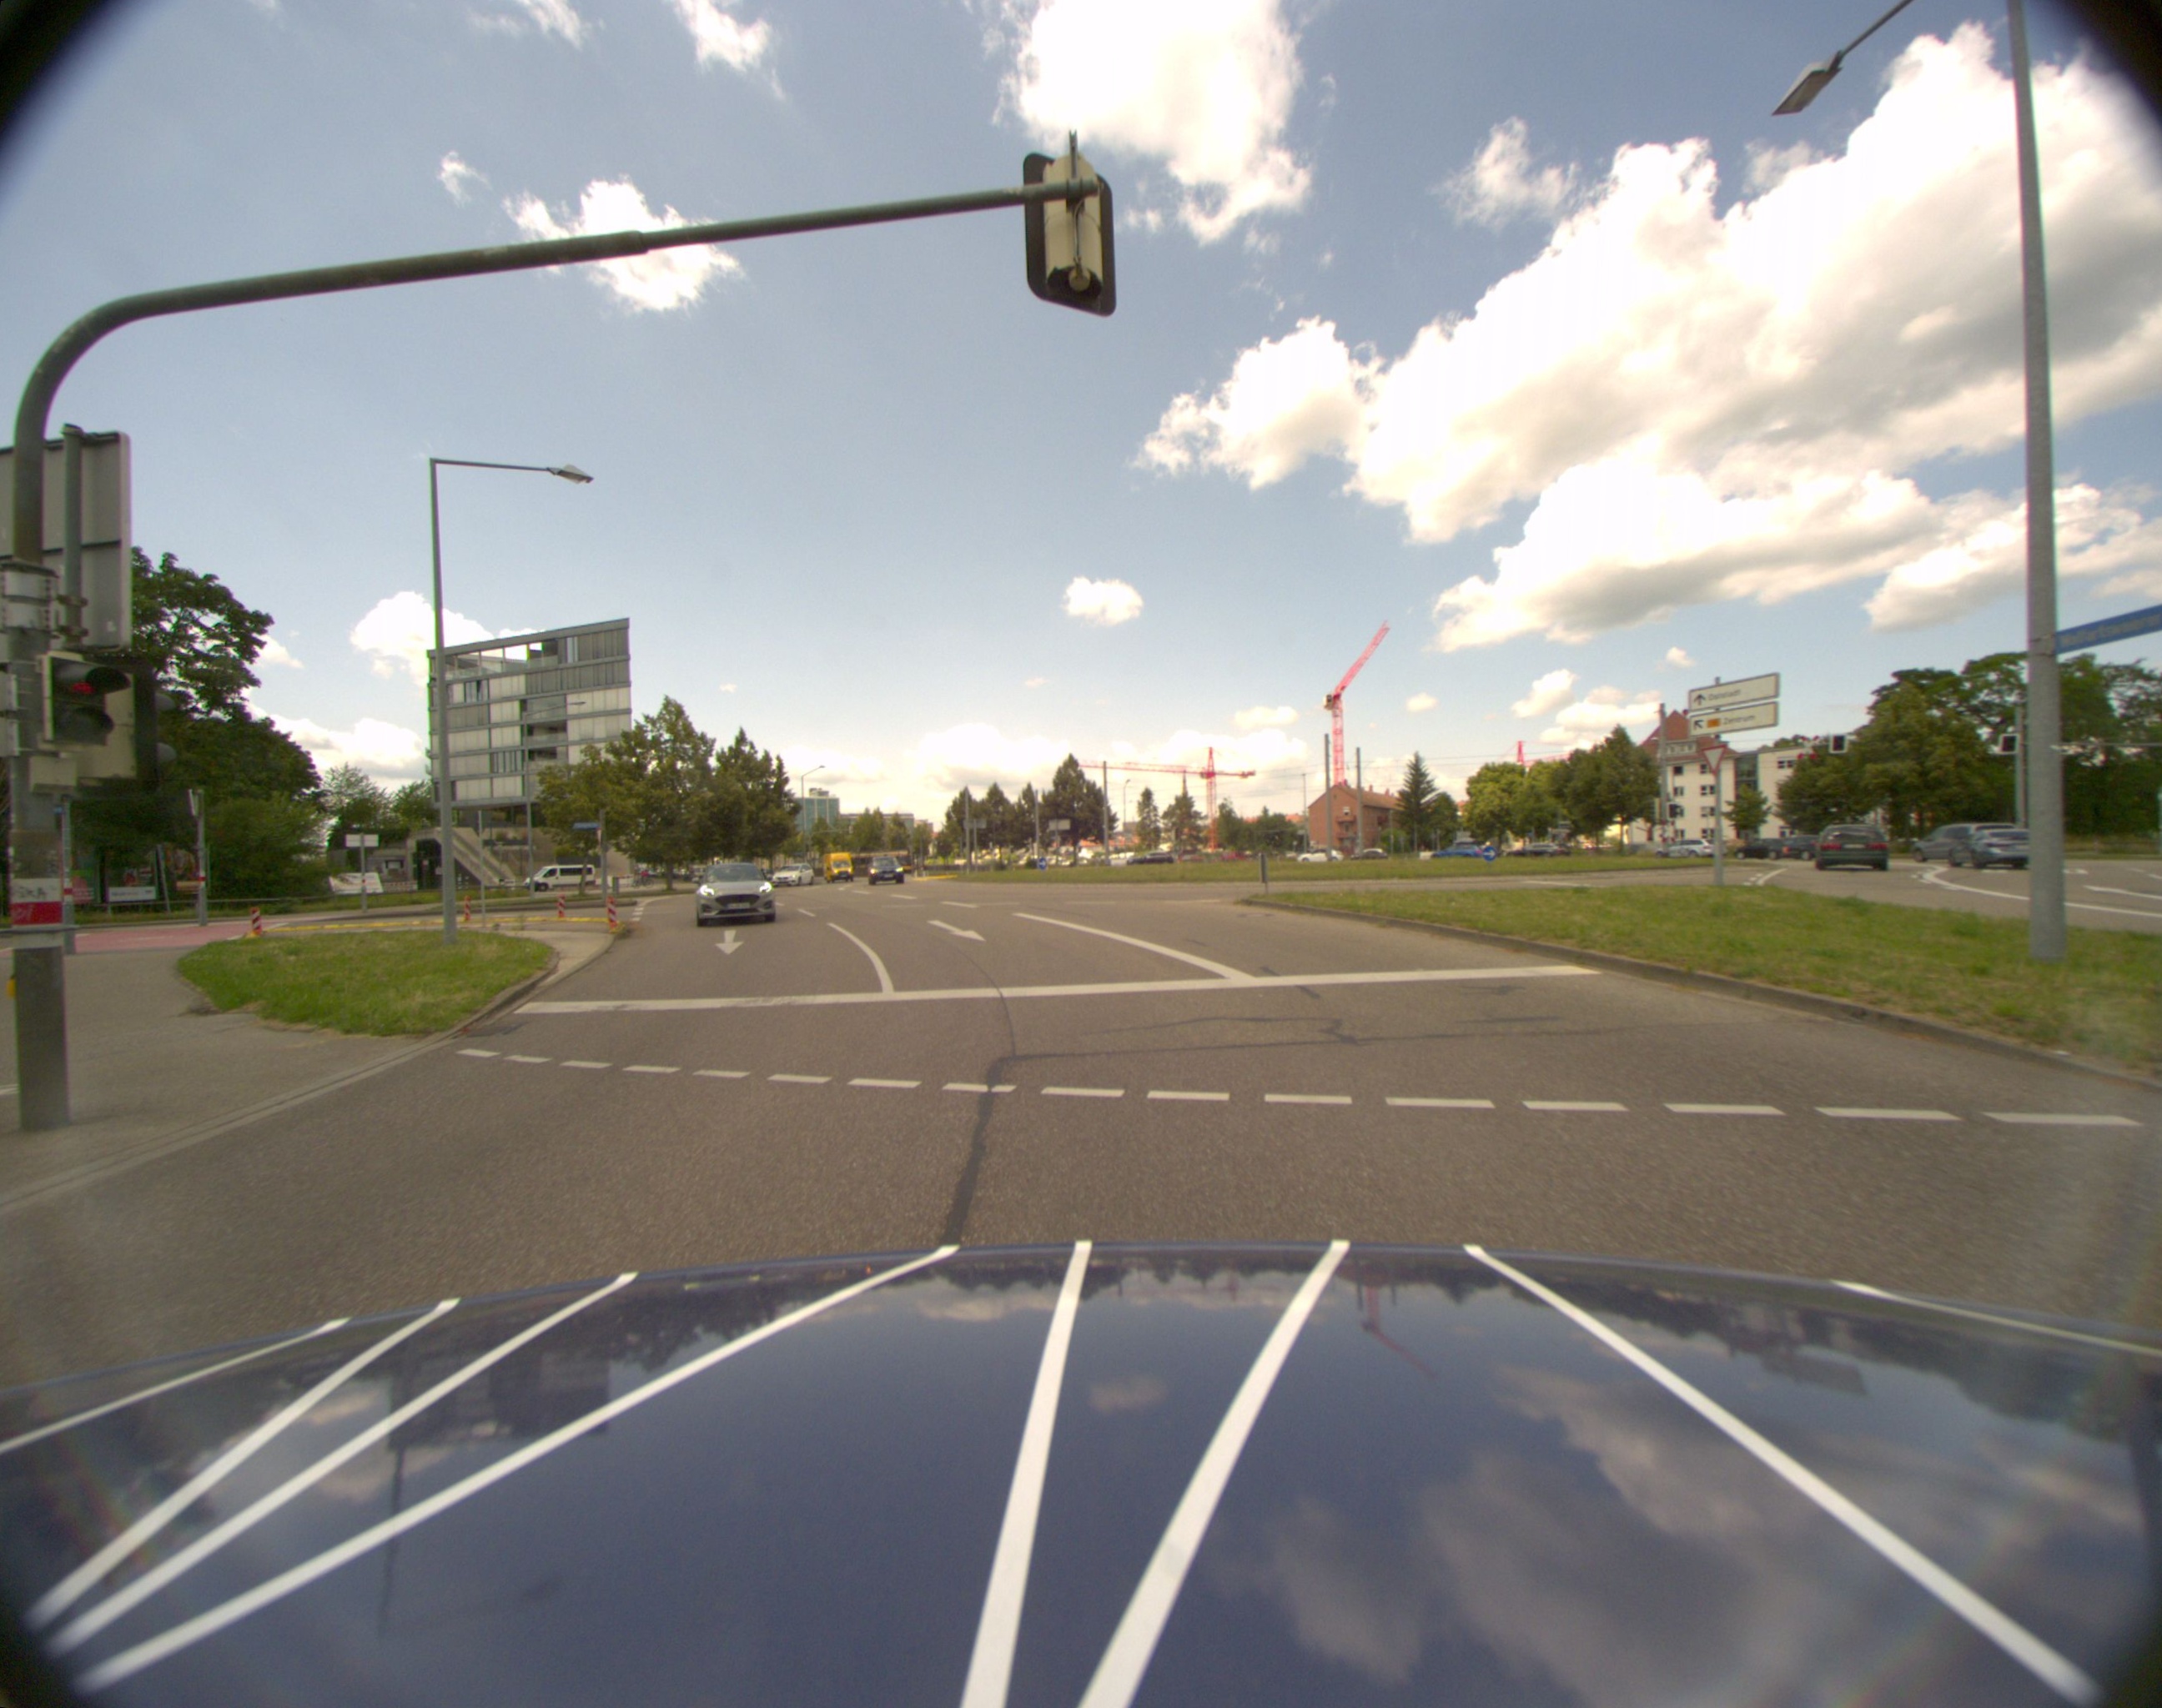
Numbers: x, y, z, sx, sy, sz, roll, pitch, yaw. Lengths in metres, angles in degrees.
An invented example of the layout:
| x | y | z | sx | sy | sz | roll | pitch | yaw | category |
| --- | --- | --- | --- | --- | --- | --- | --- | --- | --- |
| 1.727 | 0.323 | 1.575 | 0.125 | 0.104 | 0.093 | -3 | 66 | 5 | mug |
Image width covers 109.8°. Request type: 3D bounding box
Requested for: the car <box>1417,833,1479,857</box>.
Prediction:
| x | y | z | sx | sy | sz | roll | pitch | yaw | category |
| --- | --- | --- | --- | --- | --- | --- | --- | --- | --- |
| 31.074 | -0.747 | 64.448 | 1.759 | 1.788 | 4.396 | -2 | 0 | -39 | car |

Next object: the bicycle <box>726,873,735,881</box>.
| x | y | z | sx | sy | sz | roll | pitch | yaw | category |
| --- | --- | --- | --- | --- | --- | --- | --- | --- | --- |
| -34.835 | 2.271 | 75.525 | 0.359 | 0.821 | 1.470 | -2 | 0 | -40 | bicycle |

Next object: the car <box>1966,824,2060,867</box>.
| x | y | z | sx | sy | sz | roll | pitch | yaw | category |
| --- | --- | --- | --- | --- | --- | --- | --- | --- | --- |
| 33.492 | -0.319 | 27.421 | 4.199 | 1.415 | 1.906 | -2 | 0 | -42 | car |

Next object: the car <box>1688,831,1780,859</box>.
| x | y | z | sx | sy | sz | roll | pitch | yaw | category |
| --- | --- | --- | --- | --- | --- | --- | --- | --- | --- |
| 46.036 | -0.613 | 53.707 | 2.125 | 1.810 | 4.660 | -2 | 0 | -7 | car |

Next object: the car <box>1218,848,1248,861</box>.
| x | y | z | sx | sy | sz | roll | pitch | yaw | category |
| --- | --- | --- | --- | --- | --- | --- | --- | --- | --- |
| 22.558 | 0.100 | 112.946 | 2.089 | 1.841 | 5.178 | -2 | 0 | -15 | car |

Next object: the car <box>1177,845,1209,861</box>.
| x | y | z | sx | sy | sz | roll | pitch | yaw | category |
| --- | --- | --- | --- | --- | --- | --- | --- | --- | --- |
| 16.173 | -0.067 | 110.472 | 2.395 | 2.184 | 6.832 | -2 | 0 | -11 | car |

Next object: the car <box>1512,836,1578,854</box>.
| x | y | z | sx | sy | sz | roll | pitch | yaw | category |
| --- | --- | --- | --- | --- | --- | --- | --- | --- | --- |
| 38.508 | -0.734 | 63.205 | 1.956 | 1.315 | 4.485 | -2 | 0 | -17 | car |

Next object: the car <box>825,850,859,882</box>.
| x | y | z | sx | sy | sz | roll | pitch | yaw | category |
| --- | --- | --- | --- | --- | --- | --- | --- | --- | --- |
| -23.340 | 1.131 | 74.029 | 2.288 | 2.837 | 7.241 | -2 | 0 | -24 | car |

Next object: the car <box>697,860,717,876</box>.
| x | y | z | sx | sy | sz | roll | pitch | yaw | category |
| --- | --- | --- | --- | --- | --- | --- | --- | --- | --- |
| -57.230 | 2.126 | 116.270 | 2.166 | 2.380 | 6.263 | -4 | 2 | -30 | car |

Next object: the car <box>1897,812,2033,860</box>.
| x | y | z | sx | sy | sz | roll | pitch | yaw | category |
| --- | --- | --- | --- | --- | --- | --- | --- | --- | --- |
| 40.258 | -0.787 | 34.803 | 1.996 | 2.002 | 4.794 | -2 | 0 | 21 | car |

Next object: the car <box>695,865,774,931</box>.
| x | y | z | sx | sy | sz | roll | pitch | yaw | category |
| --- | --- | --- | --- | --- | --- | --- | --- | --- | --- |
| -9.138 | 1.067 | 19.922 | 1.677 | 1.462 | 4.083 | -2 | 0 | -27 | car |

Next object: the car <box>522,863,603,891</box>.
| x | y | z | sx | sy | sz | roll | pitch | yaw | category |
| --- | --- | --- | --- | --- | --- | --- | --- | --- | --- |
| -44.325 | 1.915 | 65.065 | 2.143 | 2.135 | 5.161 | -2 | 0 | 36 | car |

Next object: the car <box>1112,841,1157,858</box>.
| x | y | z | sx | sy | sz | roll | pitch | yaw | category |
| --- | --- | --- | --- | --- | --- | --- | --- | --- | --- |
| 6.015 | -0.518 | 84.849 | 4.718 | 1.780 | 1.850 | -2 | 1 | 12 | car |

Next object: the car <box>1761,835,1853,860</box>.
| x | y | z | sx | sy | sz | roll | pitch | yaw | category |
| --- | --- | --- | --- | --- | --- | --- | --- | --- | --- |
| 41.247 | -0.348 | 43.282 | 1.800 | 1.332 | 3.982 | 0 | 0 | 8 | car |

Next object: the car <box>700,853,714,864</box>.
| x | y | z | sx | sy | sz | roll | pitch | yaw | category |
| --- | --- | --- | --- | --- | --- | --- | --- | --- | --- |
| -60.085 | 0.746 | 121.979 | 1.826 | 1.641 | 3.992 | -4 | 1 | -25 | car |

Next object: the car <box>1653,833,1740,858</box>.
| x | y | z | sx | sy | sz | roll | pitch | yaw | category |
| --- | --- | --- | --- | --- | --- | --- | --- | --- | --- |
| 42.069 | -0.549 | 52.078 | 2.123 | 1.512 | 4.506 | -2 | 0 | -4 | car |

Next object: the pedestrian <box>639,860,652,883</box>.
| x | y | z | sx | sy | sz | roll | pitch | yaw | category |
| --- | --- | --- | --- | --- | --- | --- | --- | --- | --- |
| -38.441 | 1.560 | 67.047 | 0.756 | 2.002 | 1.229 | -4 | 2 | -35 | pedestrian |

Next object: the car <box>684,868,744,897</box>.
| x | y | z | sx | sy | sz | roll | pitch | yaw | category |
| --- | --- | --- | --- | --- | --- | --- | --- | --- | --- |
| -17.943 | 1.361 | 37.332 | 1.675 | 1.254 | 4.088 | -2 | 0 | -12 | car |

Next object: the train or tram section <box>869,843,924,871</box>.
| x | y | z | sx | sy | sz | roll | pitch | yaw | category |
| --- | --- | --- | --- | --- | --- | --- | --- | --- | --- |
| -26.573 | 0.556 | 108.902 | 2.856 | 3.718 | 13.443 | -2 | 0 | -35 | train or tram section |

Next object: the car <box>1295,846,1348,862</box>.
| x | y | z | sx | sy | sz | roll | pitch | yaw | category |
| --- | --- | --- | --- | --- | --- | --- | --- | --- | --- |
| 22.404 | 0.029 | 70.744 | 4.300 | 1.321 | 2.004 | -2 | 0 | 30 | car |

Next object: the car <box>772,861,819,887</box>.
| x | y | z | sx | sy | sz | roll | pitch | yaw | category |
| --- | --- | --- | --- | --- | --- | --- | --- | --- | --- |
| -19.869 | 1.368 | 53.114 | 1.674 | 1.589 | 4.127 | -3 | 1 | -1 | car |

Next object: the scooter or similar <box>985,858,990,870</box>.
| x | y | z | sx | sy | sz | roll | pitch | yaw | category |
| --- | --- | --- | --- | --- | --- | --- | --- | --- | --- |
| -11.585 | 1.234 | 93.910 | 0.419 | 1.295 | 1.343 | -2 | 3 | -14 | scooter or similar |

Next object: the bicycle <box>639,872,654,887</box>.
| x | y | z | sx | sy | sz | roll | pitch | yaw | category |
| --- | --- | --- | --- | --- | --- | --- | --- | --- | --- |
| -38.371 | 2.239 | 67.064 | 0.814 | 1.237 | 2.405 | -5 | 2 | -36 | bicycle |

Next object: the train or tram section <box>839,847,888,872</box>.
| x | y | z | sx | sy | sz | roll | pitch | yaw | category |
| --- | --- | --- | --- | --- | --- | --- | --- | --- | --- |
| -34.682 | 0.958 | 120.444 | 2.700 | 3.617 | 14.628 | -2 | 0 | -35 | train or tram section |

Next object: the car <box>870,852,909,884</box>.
| x | y | z | sx | sy | sz | roll | pitch | yaw | category |
| --- | --- | --- | --- | --- | --- | --- | --- | --- | --- |
| -11.099 | 0.749 | 43.912 | 1.777 | 1.590 | 4.120 | -4 | 2 | -18 | car |

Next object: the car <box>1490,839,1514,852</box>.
| x | y | z | sx | sy | sz | roll | pitch | yaw | category |
| --- | --- | --- | --- | --- | --- | --- | --- | --- | --- |
| 60.221 | -1.225 | 108.655 | 2.061 | 1.617 | 4.953 | -4 | 0 | 38 | car |

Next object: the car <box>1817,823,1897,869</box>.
| x | y | z | sx | sy | sz | roll | pitch | yaw | category |
| --- | --- | --- | --- | --- | --- | --- | --- | --- | --- |
| 29.060 | -0.334 | 28.410 | 4.601 | 1.583 | 1.909 | -2 | 1 | -42 | car |

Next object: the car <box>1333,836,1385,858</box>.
| x | y | z | sx | sy | sz | roll | pitch | yaw | category |
| --- | --- | --- | --- | --- | --- | --- | --- | --- | --- |
| 28.109 | -0.693 | 76.822 | 4.714 | 2.002 | 2.003 | -2 | 0 | 25 | car |

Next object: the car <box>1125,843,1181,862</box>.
| x | y | z | sx | sy | sz | roll | pitch | yaw | category |
| --- | --- | --- | --- | --- | --- | --- | --- | --- | --- |
| 6.983 | -0.108 | 73.567 | 5.069 | 1.665 | 1.999 | -2 | 0 | -6 | car |

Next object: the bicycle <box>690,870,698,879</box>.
| x | y | z | sx | sy | sz | roll | pitch | yaw | category |
| --- | --- | --- | --- | --- | --- | --- | --- | --- | --- |
| -48.968 | 2.619 | 96.141 | 0.517 | 1.082 | 1.744 | -1 | 0 | -38 | bicycle |
